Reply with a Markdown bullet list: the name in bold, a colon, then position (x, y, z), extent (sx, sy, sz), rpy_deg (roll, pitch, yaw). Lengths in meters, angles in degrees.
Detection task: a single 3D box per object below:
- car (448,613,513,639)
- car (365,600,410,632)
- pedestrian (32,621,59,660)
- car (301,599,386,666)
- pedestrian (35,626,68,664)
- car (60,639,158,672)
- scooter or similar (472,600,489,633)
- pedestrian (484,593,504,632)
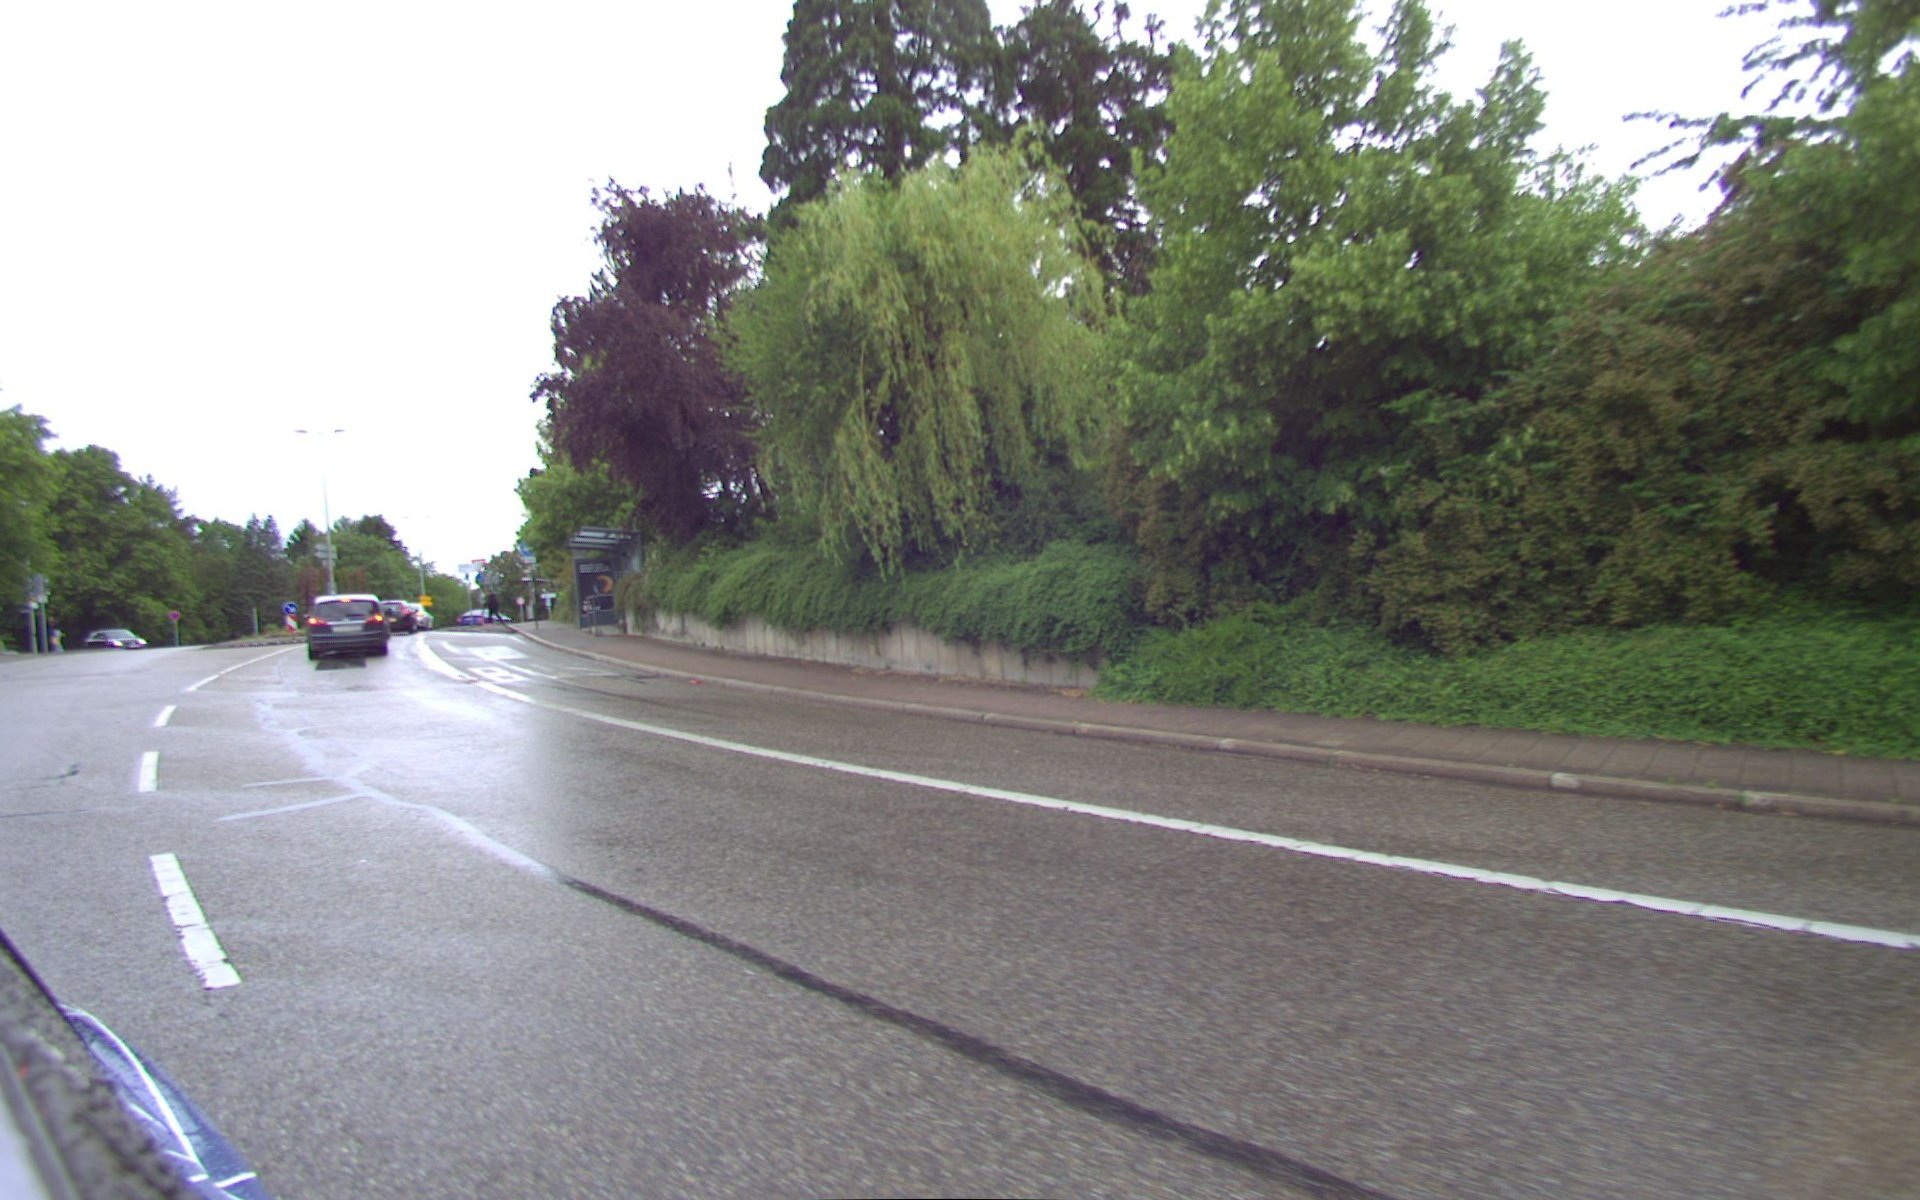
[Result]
- **car**: position (-31.294, 1.655, 66.211), extent (1.740, 1.448, 4.666), rpy_deg (-5, -1, 3)
- **car**: position (-28.643, 0.815, 50.729), extent (1.803, 1.412, 4.836), rpy_deg (-3, 0, -29)
- **pedestrian**: position (-41.577, 1.833, 46.002), extent (0.713, 1.746, 0.821), rpy_deg (-3, 0, -32)
- **car**: position (-16.801, 0.834, 27.701), extent (1.785, 1.588, 4.700), rpy_deg (-3, 1, -30)
- **pedestrian**: position (-42.039, 2.062, 46.833), extent (0.717, 1.667, 0.818), rpy_deg (-3, 0, 6)
- **car**: position (-46.986, 3.053, 55.903), extent (4.342, 1.425, 1.856), rpy_deg (-5, -1, 13)
- **scooter or similar**: position (-22.701, 0.798, 47.922), extent (0.502, 1.527, 1.322), rpy_deg (-3, 0, -19)
- **pedestrian**: position (-22.162, 0.593, 48.127), extent (0.693, 1.820, 0.828), rpy_deg (-3, 0, -19)
